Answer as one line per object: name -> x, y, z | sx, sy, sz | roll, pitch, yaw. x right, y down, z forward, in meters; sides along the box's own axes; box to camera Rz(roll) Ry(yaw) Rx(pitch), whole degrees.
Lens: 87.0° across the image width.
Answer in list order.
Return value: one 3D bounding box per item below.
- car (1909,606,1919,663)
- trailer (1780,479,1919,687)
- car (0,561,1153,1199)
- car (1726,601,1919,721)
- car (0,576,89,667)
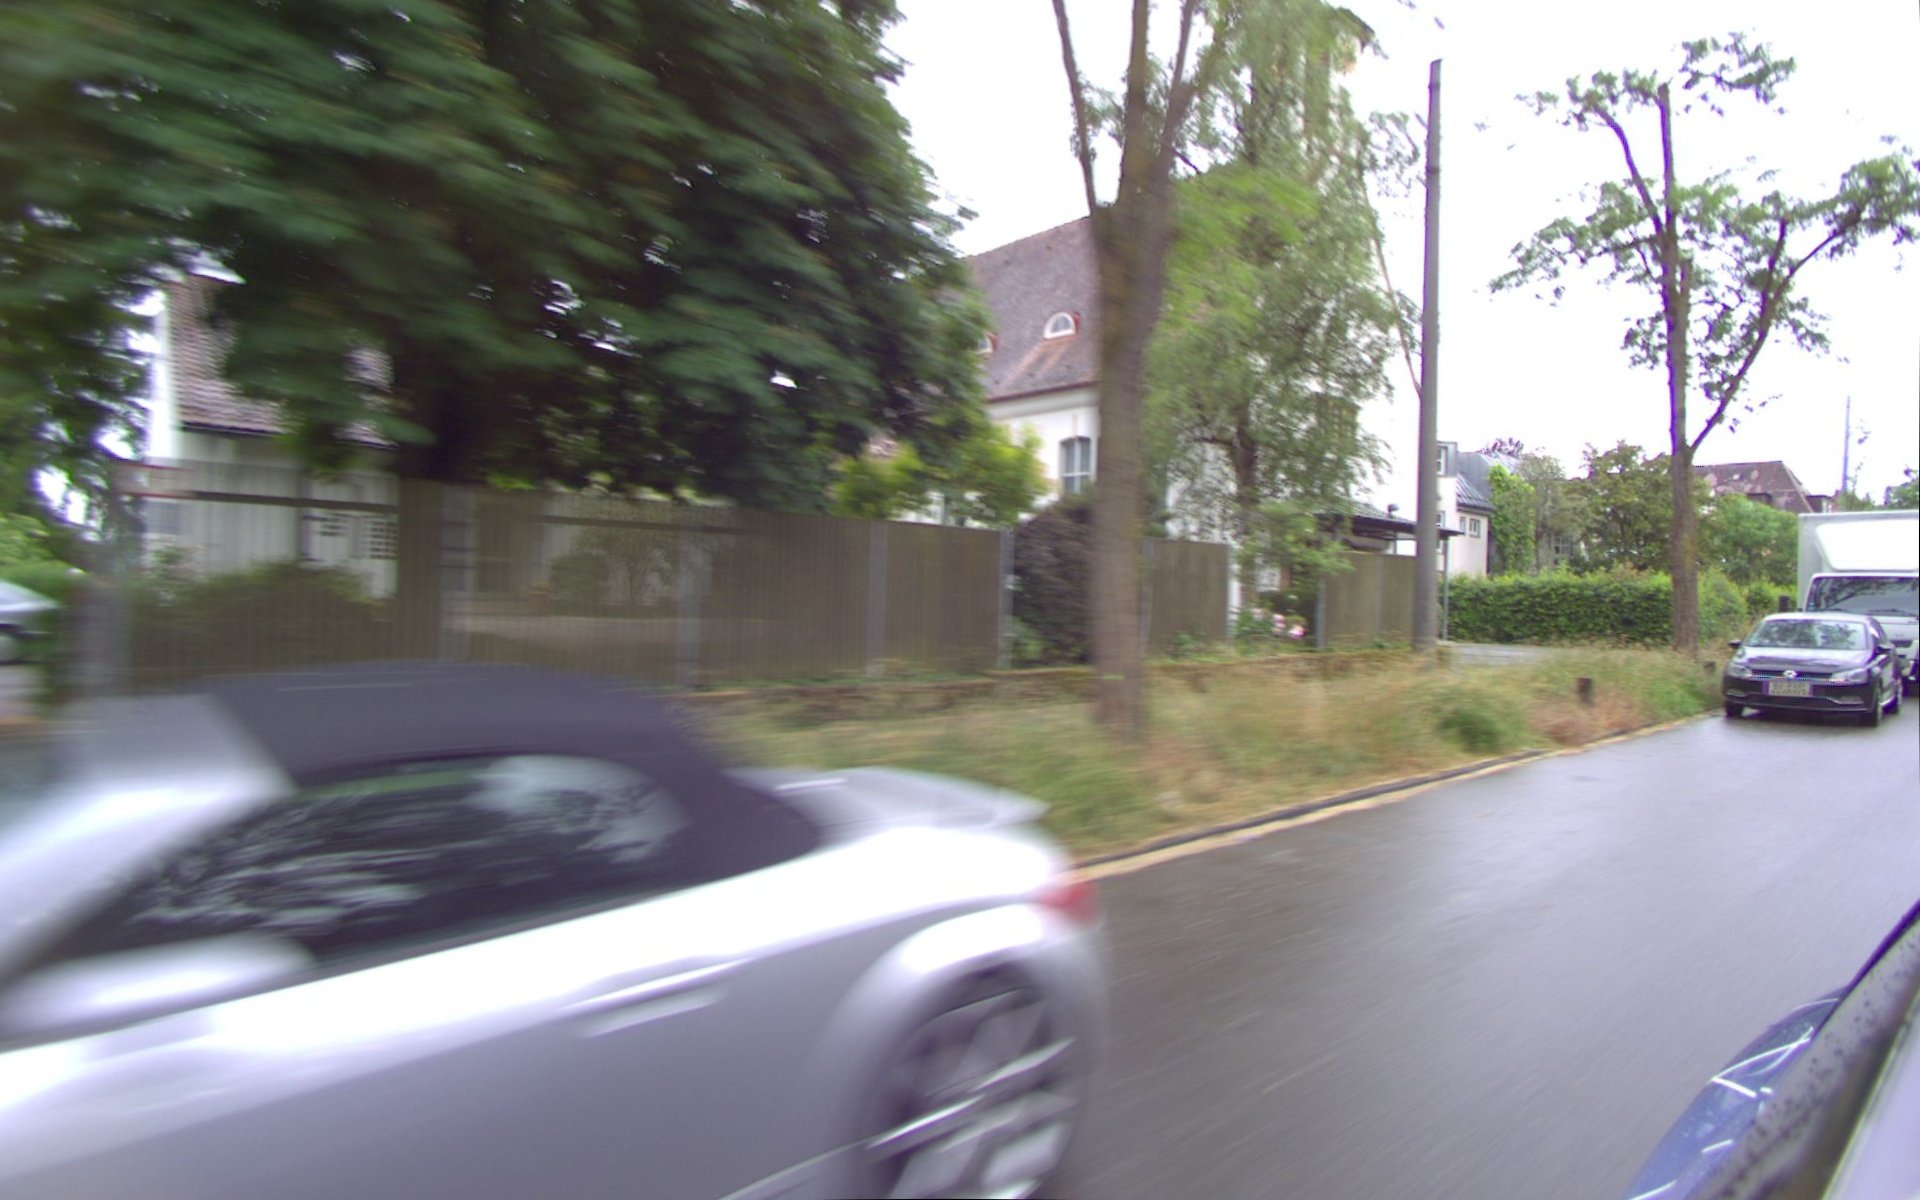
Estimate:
car -> 27.171, 0.914, 27.394 | 4.470, 1.493, 1.798 | 1, -1, -42
trailer -> 19.049, -0.257, 20.302 | 8.103, 3.553, 2.738 | 1, -1, -42
car -> -1.534, 0.665, 2.005 | 3.931, 1.413, 1.784 | 1, -1, -42
car -> 12.416, 0.770, 14.420 | 3.930, 1.483, 1.643 | 1, -1, -41
car -> -16.282, 0.322, 15.417 | 4.441, 1.393, 1.619 | 1, -1, -37
